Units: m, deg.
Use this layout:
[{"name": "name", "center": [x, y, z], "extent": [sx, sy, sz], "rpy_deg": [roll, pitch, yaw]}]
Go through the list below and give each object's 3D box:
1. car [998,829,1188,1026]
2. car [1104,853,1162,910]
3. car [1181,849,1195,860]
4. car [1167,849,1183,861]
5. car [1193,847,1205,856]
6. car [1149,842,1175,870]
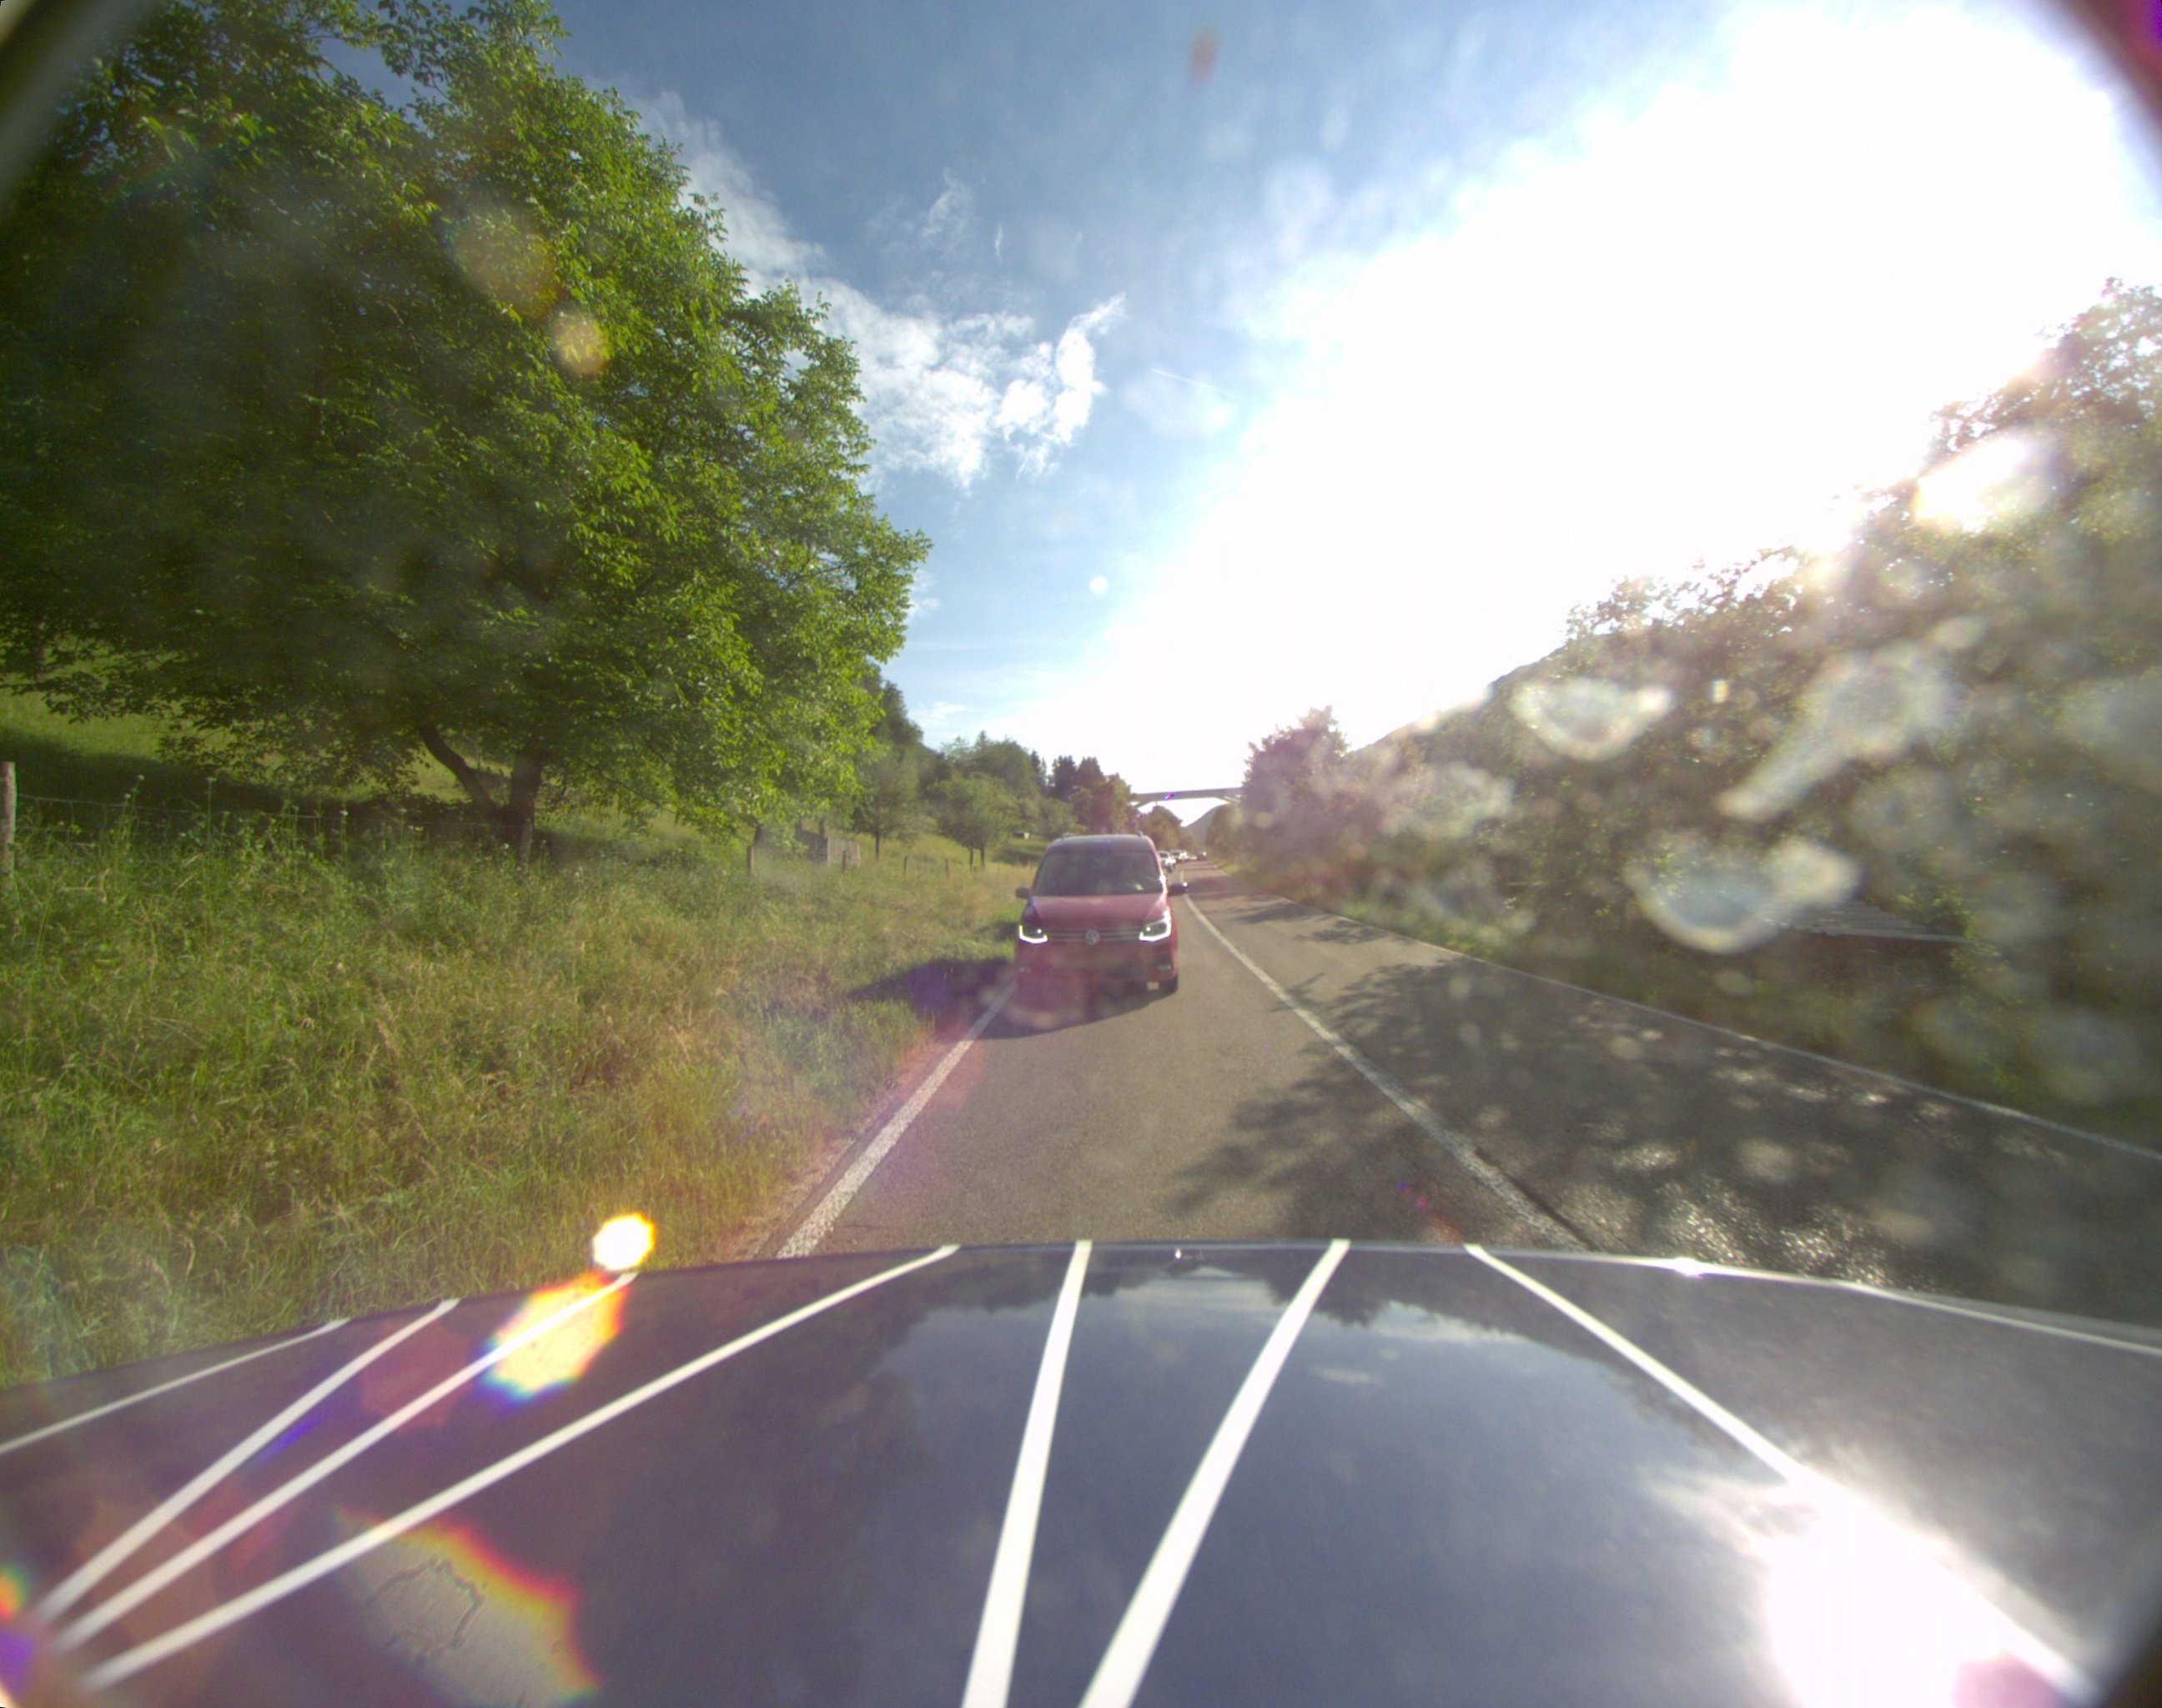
[{"name": "car", "center": [0.182, 0.708, 9.334], "extent": [1.772, 1.855, 3.875], "rpy_deg": [-2, 0, 2]}, {"name": "car", "center": [1.571, 0.759, 22.676], "extent": [1.570, 1.575, 3.527], "rpy_deg": [-1, 0, 5]}, {"name": "car", "center": [15.681, 0.015, 111.197], "extent": [1.817, 1.608, 4.002], "rpy_deg": [-1, 0, 9]}, {"name": "car", "center": [12.252, 0.108, 98.616], "extent": [1.817, 1.608, 4.003], "rpy_deg": [-1, 0, 11]}, {"name": "car", "center": [20.361, -0.428, 130.983], "extent": [1.817, 1.608, 3.807], "rpy_deg": [-1, 0, 7]}, {"name": "car", "center": [6.148, 0.155, 57.554], "extent": [1.914, 2.002, 4.002], "rpy_deg": [-1, 0, 7]}]
